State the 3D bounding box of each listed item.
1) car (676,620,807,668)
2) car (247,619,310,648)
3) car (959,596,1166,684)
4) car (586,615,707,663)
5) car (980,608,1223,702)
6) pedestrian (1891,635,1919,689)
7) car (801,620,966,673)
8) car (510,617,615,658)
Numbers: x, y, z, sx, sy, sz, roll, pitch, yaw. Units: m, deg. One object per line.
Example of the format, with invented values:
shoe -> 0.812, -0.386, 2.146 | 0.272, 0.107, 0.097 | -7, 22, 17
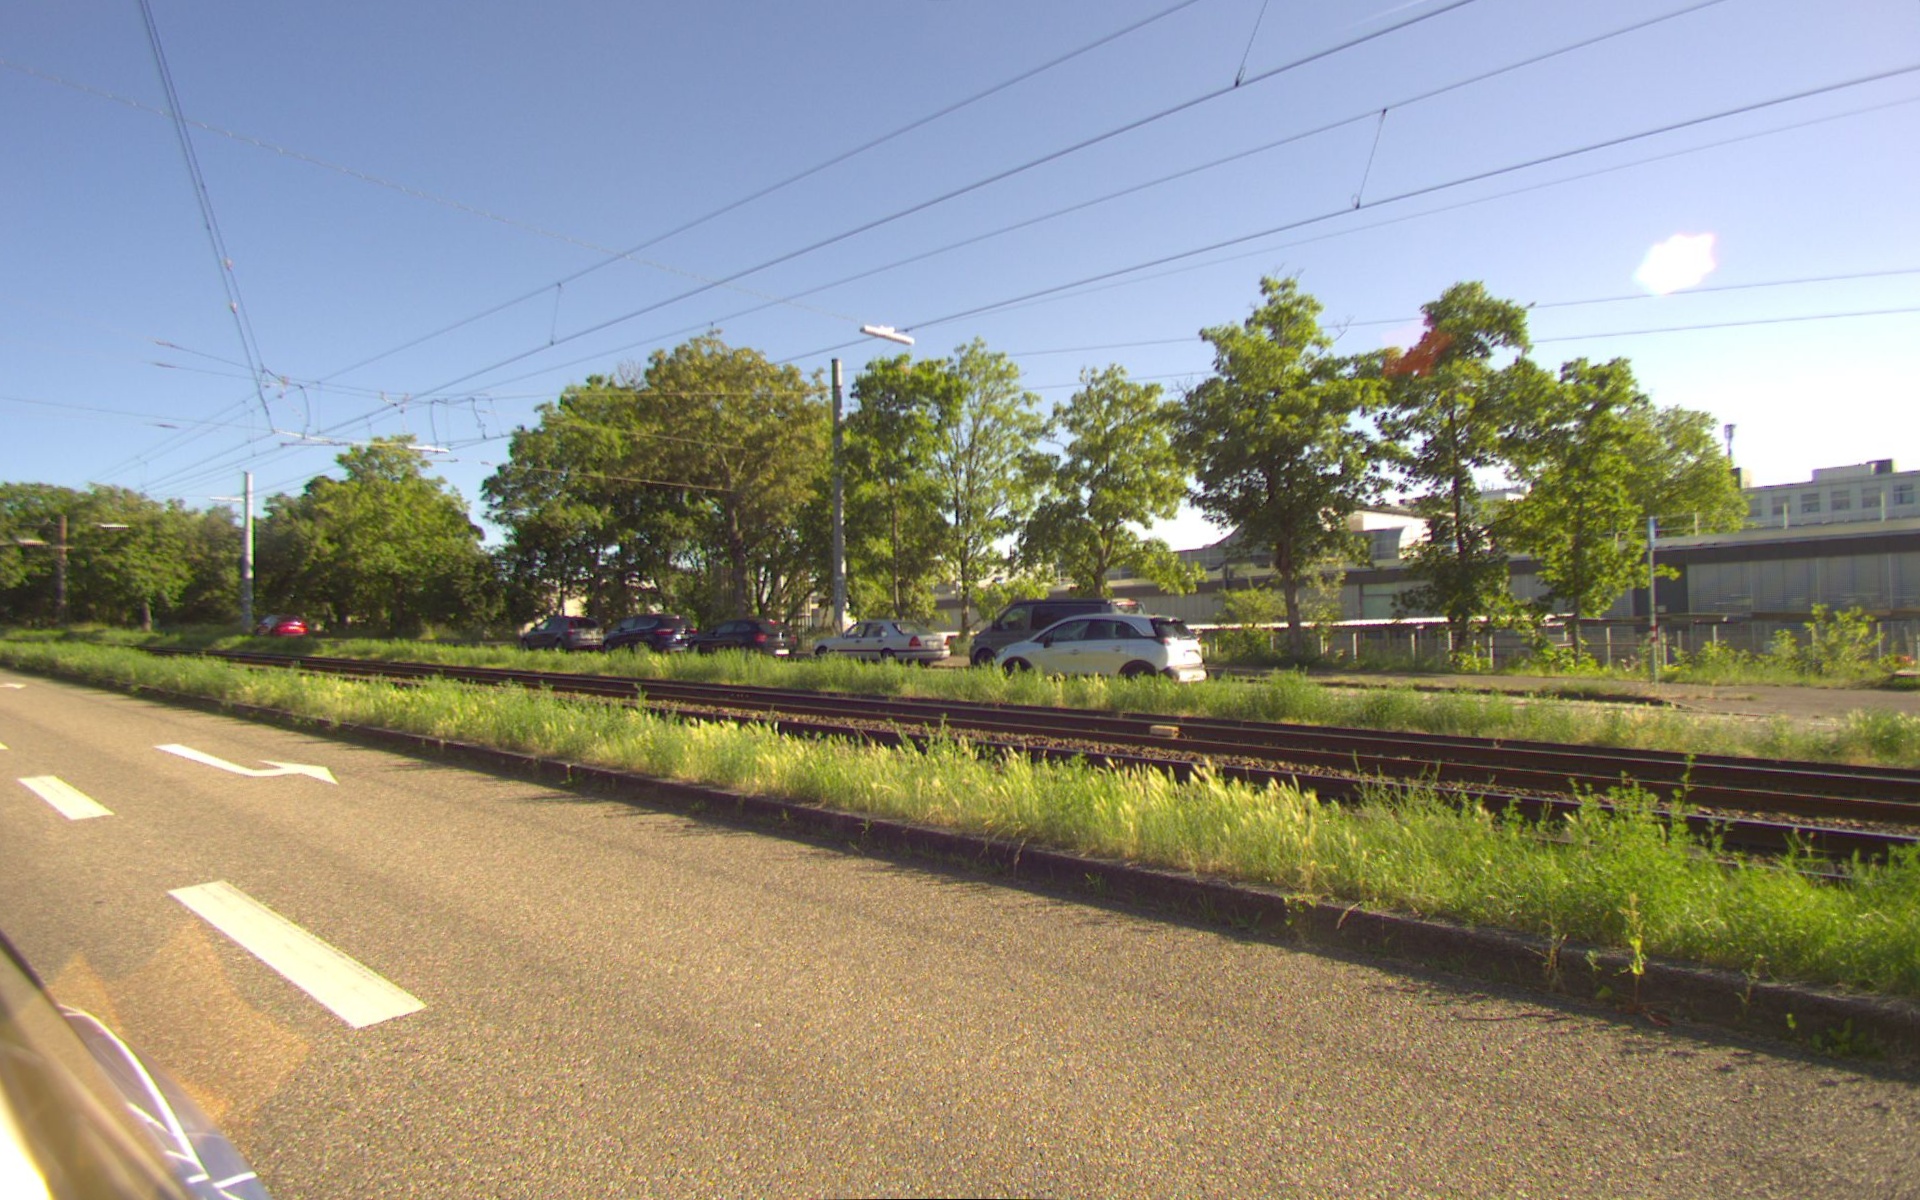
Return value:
car -> -7.242, 1.426, 33.248 | 4.486, 1.437, 1.935 | -2, -1, 42
car -> -42.460, 2.085, 63.005 | 4.797, 1.746, 2.290 | -2, -1, 43
car -> 2.437, 0.937, 24.827 | 4.684, 1.949, 2.178 | -2, -1, 42
car -> -11.437, 1.392, 36.800 | 4.614, 1.599, 2.102 | -2, -1, 41
car -> 2.603, 0.989, 19.051 | 4.150, 1.569, 1.838 | -2, -1, 37
pedestrian -> 23.497, 1.537, 25.050 | 0.435, 1.310, 0.441 | -1, -2, -1
car -> -2.265, 1.313, 29.240 | 4.612, 1.391, 2.103 | -2, -1, 40
car -> -16.266, 1.524, 41.276 | 4.557, 1.575, 2.103 | -2, -1, 41
